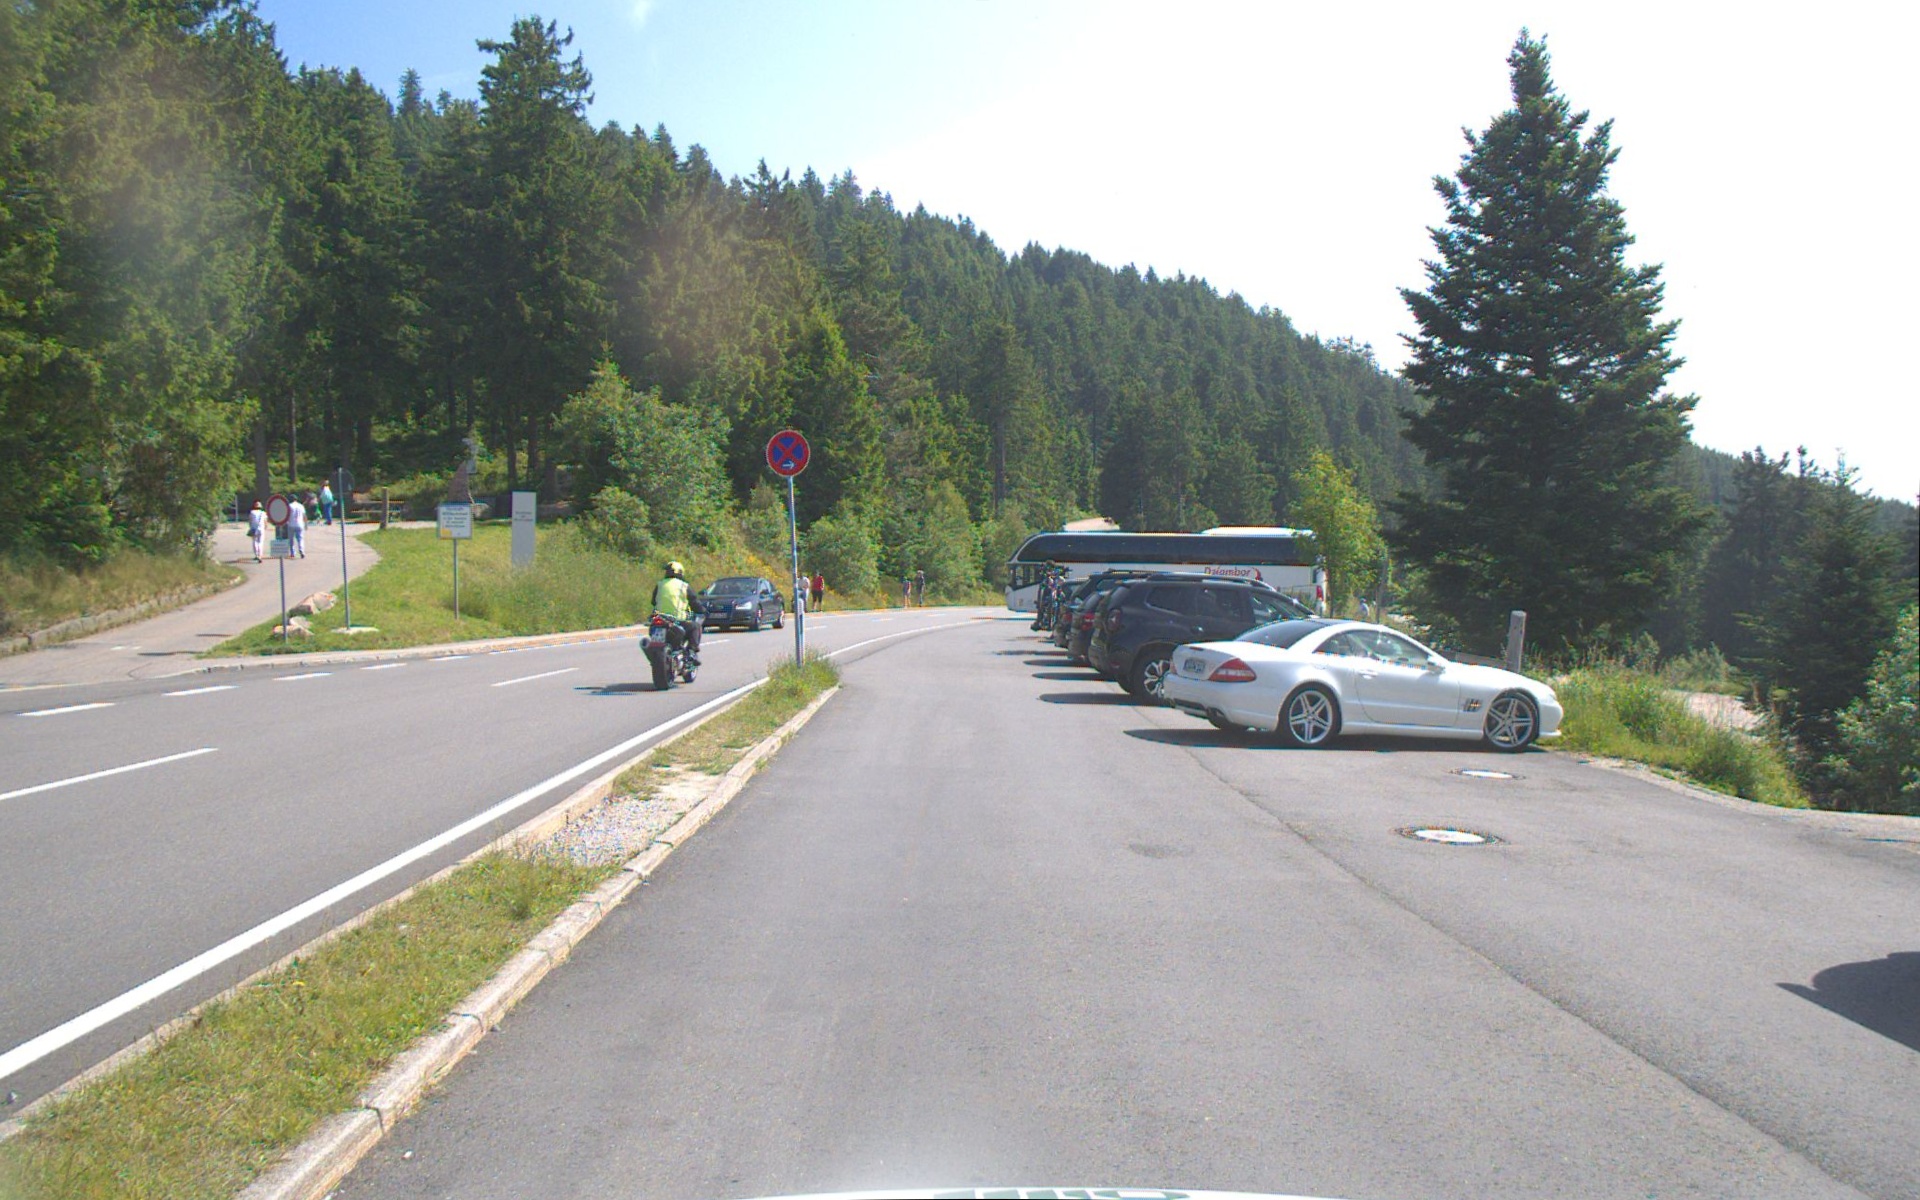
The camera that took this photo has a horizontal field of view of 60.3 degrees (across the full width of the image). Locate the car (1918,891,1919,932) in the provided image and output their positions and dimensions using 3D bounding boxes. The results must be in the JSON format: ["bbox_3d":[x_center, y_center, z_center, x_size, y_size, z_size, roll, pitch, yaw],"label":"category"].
[{"bbox_3d":[5.521,0.655,5.407,1.866,2.006,4.819,3,1,-1],"label":"car"}]

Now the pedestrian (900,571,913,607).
[{"bbox_3d":[-2.942,-0.586,90.762,0.610,1.933,0.654,-2,0,-3],"label":"pedestrian"}]

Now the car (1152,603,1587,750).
[{"bbox_3d":[4.430,0.826,17.905,4.385,1.321,1.574,3,1,-19],"label":"car"}]

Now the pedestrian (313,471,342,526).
[{"bbox_3d":[-24.130,-3.862,63.131,0.800,2.048,0.851,-3,3,-11],"label":"pedestrian"}]

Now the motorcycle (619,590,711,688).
[{"bbox_3d":[-3.828,0.474,21.646,0.805,1.197,2.286,-1,0,-1],"label":"motorcycle"}]

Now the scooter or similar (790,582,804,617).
[{"bbox_3d":[-6.651,-0.022,67.654,0.473,1.403,0.817,-2,3,-3],"label":"scooter or similar"}]

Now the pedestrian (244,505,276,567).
[{"bbox_3d":[-19.833,-1.807,46.848,0.640,1.696,0.642,-2,0,-9],"label":"pedestrian"}]

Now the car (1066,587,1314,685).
[{"bbox_3d":[3.531,0.541,25.818,3.564,1.326,1.640,1,2,-4],"label":"car"}]

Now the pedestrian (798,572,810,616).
[{"bbox_3d":[-6.444,-0.251,68.303,0.406,1.777,0.457,-2,2,-3],"label":"pedestrian"}]

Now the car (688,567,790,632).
[{"bbox_3d":[-6.073,-0.053,45.831,1.951,1.691,4.003,-1,1,5],"label":"car"}]

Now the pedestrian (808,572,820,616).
[{"bbox_3d":[-5.985,-0.255,67.977,0.387,1.777,0.406,-2,2,-3],"label":"pedestrian"}]

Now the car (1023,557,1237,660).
[{"bbox_3d":[3.303,0.137,32.687,3.907,1.749,1.867,3,2,-3],"label":"car"}]

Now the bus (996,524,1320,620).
[{"bbox_3d":[7.928,-1.134,66.211,12.586,3.639,2.985,0,3,14],"label":"bus"}]

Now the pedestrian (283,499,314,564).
[{"bbox_3d":[-19.112,-1.973,47.781,0.640,1.830,0.642,-2,0,-9],"label":"pedestrian"}]

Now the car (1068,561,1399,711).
[{"bbox_3d":[3.637,0.464,22.394,3.914,1.728,1.996,3,2,-10],"label":"car"}]

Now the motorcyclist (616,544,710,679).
[{"bbox_3d":[-3.846,0.141,21.527,1.005,1.704,1.293,0,0,-1],"label":"motorcyclist"}]

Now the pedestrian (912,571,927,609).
[{"bbox_3d":[-2.199,-0.531,89.707,0.718,2.049,0.862,-2,0,-3],"label":"pedestrian"}]

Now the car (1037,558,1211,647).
[{"bbox_3d":[3.887,0.027,39.696,3.906,1.845,1.940,3,3,0],"label":"car"}]

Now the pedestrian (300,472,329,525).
[{"bbox_3d":[-25.223,-3.966,64.657,0.783,2.048,0.938,-3,3,-11],"label":"pedestrian"}]

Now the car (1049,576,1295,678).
[{"bbox_3d":[3.628,0.447,28.815,3.908,1.478,1.999,3,2,-4],"label":"car"}]
